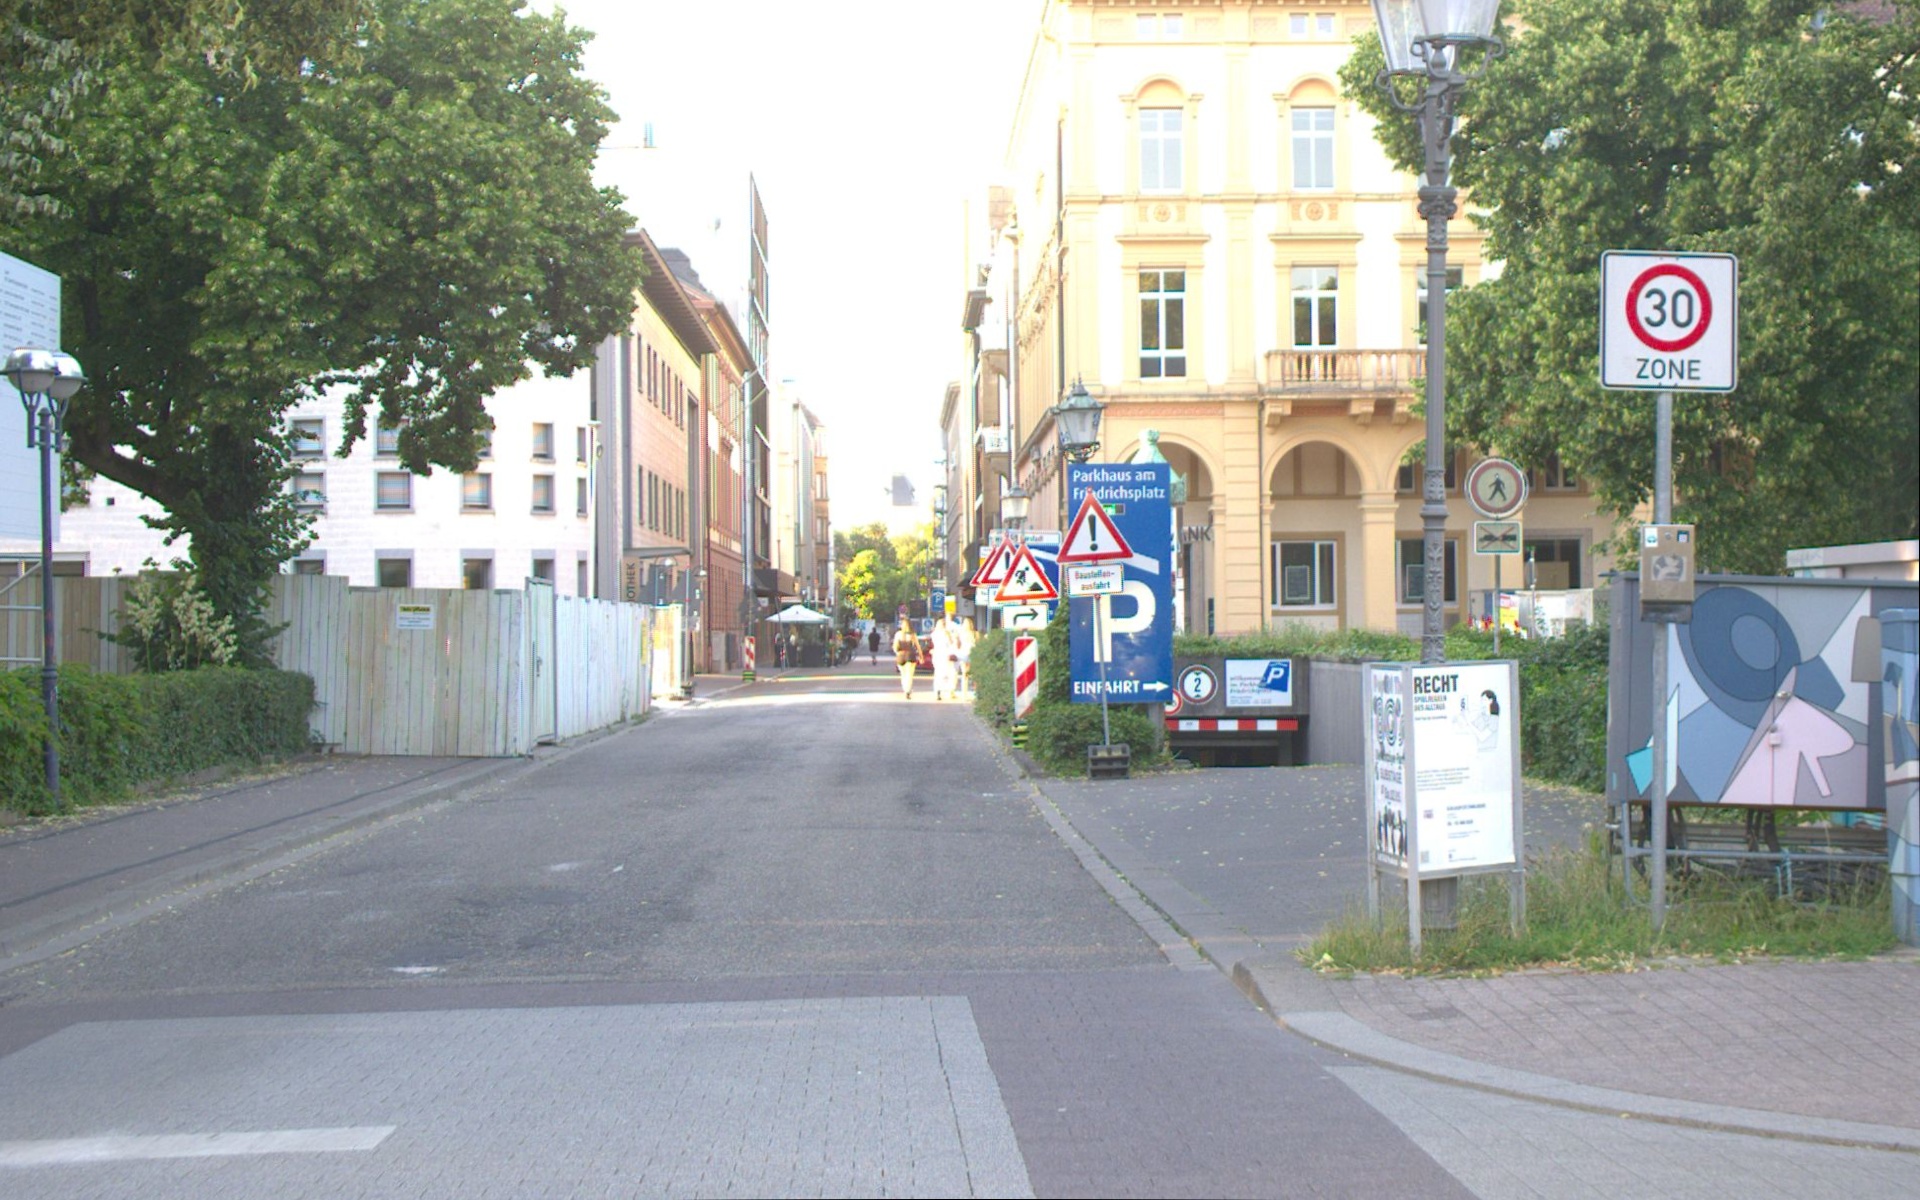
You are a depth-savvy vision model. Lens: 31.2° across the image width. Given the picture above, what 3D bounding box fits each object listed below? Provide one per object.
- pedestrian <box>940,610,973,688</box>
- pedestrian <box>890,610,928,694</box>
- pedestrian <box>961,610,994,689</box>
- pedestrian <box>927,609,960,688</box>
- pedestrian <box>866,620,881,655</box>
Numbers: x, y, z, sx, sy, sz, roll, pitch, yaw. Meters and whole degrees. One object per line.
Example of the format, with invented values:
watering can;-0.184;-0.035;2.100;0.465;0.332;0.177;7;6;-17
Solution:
pedestrian;-0.067;1.028;72.239;0.657;1.630;0.745;-1;0;0
pedestrian;-1.077;1.088;72.284;0.658;1.754;0.745;-1;0;9
pedestrian;0.358;1.017;71.201;0.657;1.611;0.745;-1;0;0
pedestrian;-0.338;1.008;71.156;0.657;1.611;0.745;-1;0;0
pedestrian;-4.553;1.972;180.971;0.759;1.828;0.745;-1;0;0
